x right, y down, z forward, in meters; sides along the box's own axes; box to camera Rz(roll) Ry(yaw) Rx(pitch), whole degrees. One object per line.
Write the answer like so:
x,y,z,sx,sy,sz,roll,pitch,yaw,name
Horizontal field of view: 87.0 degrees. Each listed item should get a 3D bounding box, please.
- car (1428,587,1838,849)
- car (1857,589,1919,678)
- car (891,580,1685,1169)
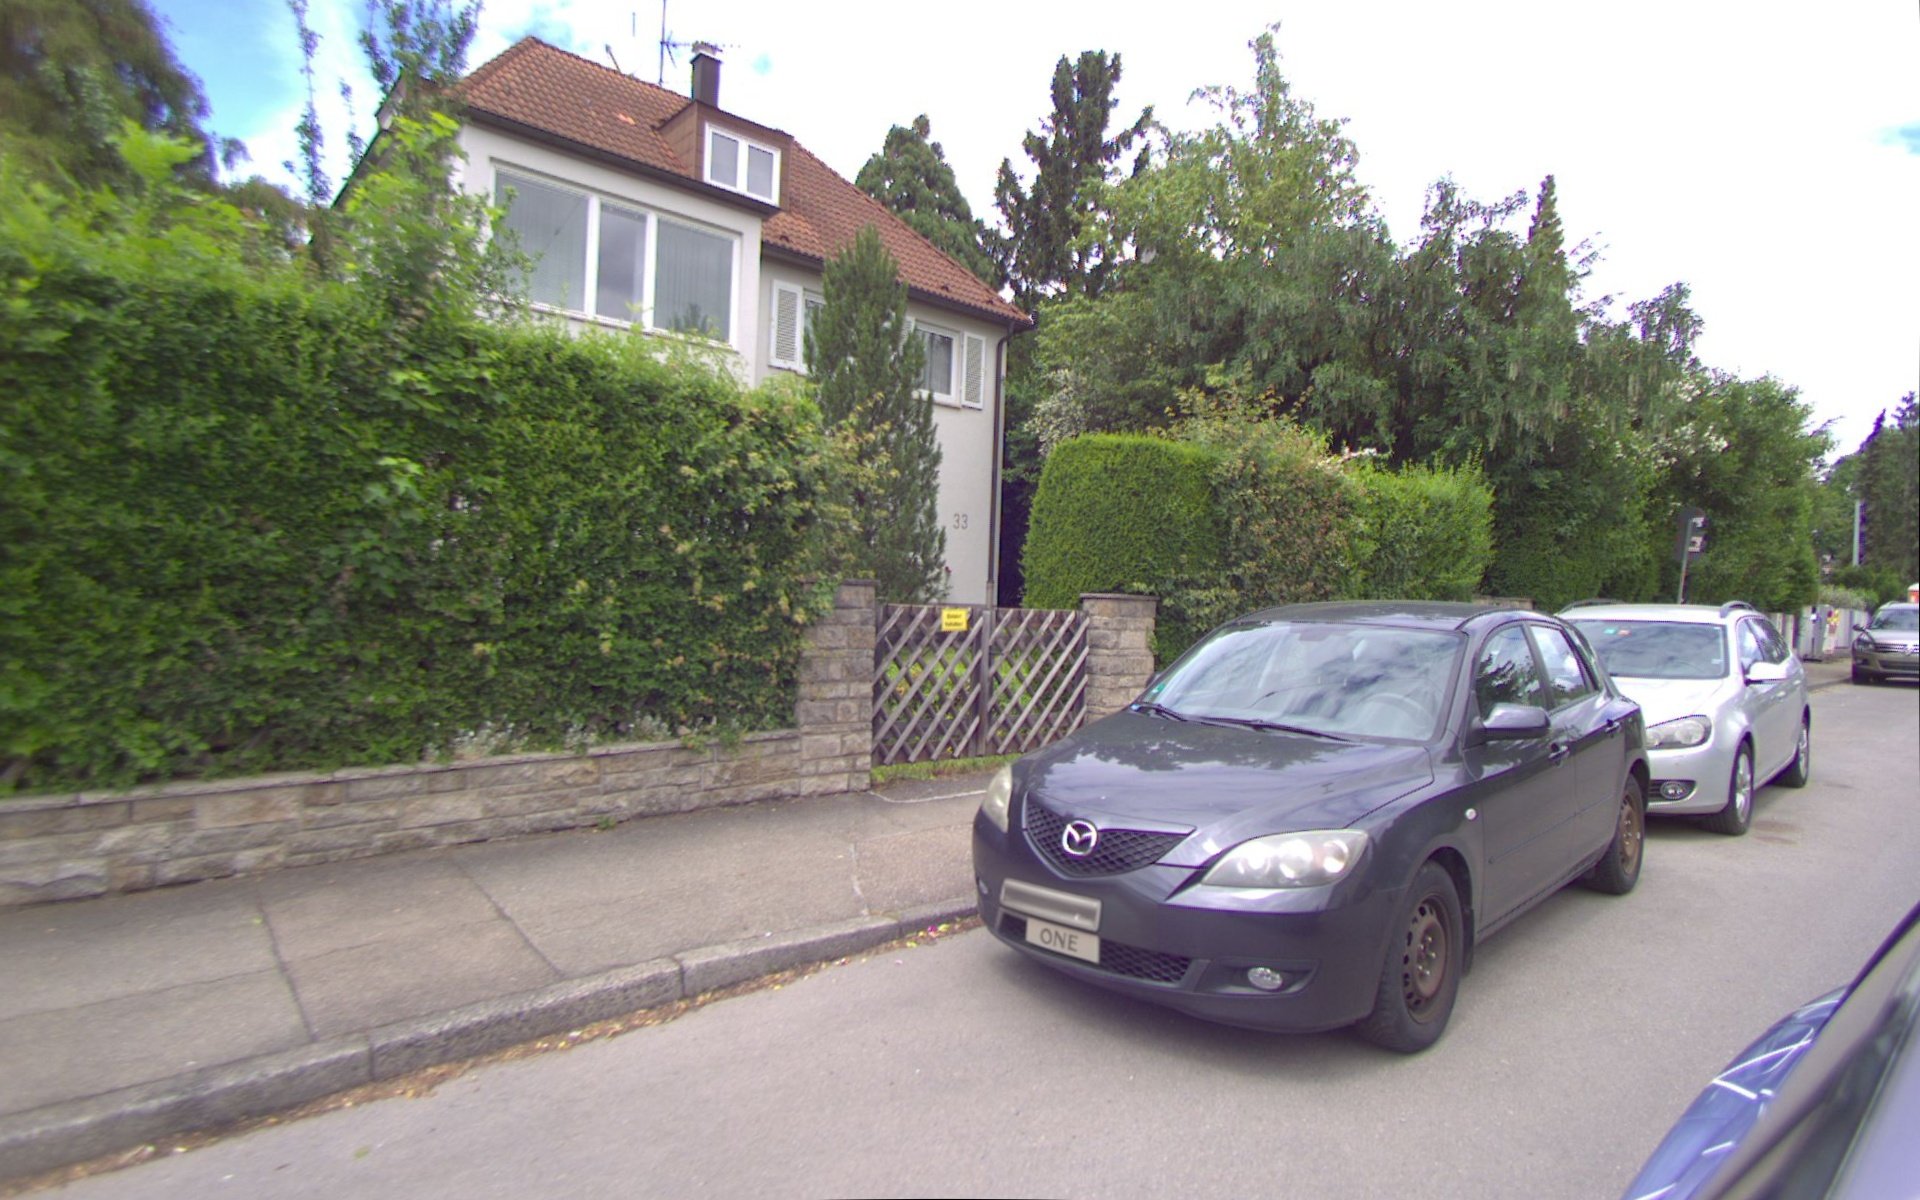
5.471,0.675,7.980,4.285,1.495,1.758,0,1,-43,car
19.449,0.683,20.167,4.053,1.653,1.876,2,-1,-42,car
1.798,0.680,4.600,4.072,1.478,1.718,0,1,-44,car
